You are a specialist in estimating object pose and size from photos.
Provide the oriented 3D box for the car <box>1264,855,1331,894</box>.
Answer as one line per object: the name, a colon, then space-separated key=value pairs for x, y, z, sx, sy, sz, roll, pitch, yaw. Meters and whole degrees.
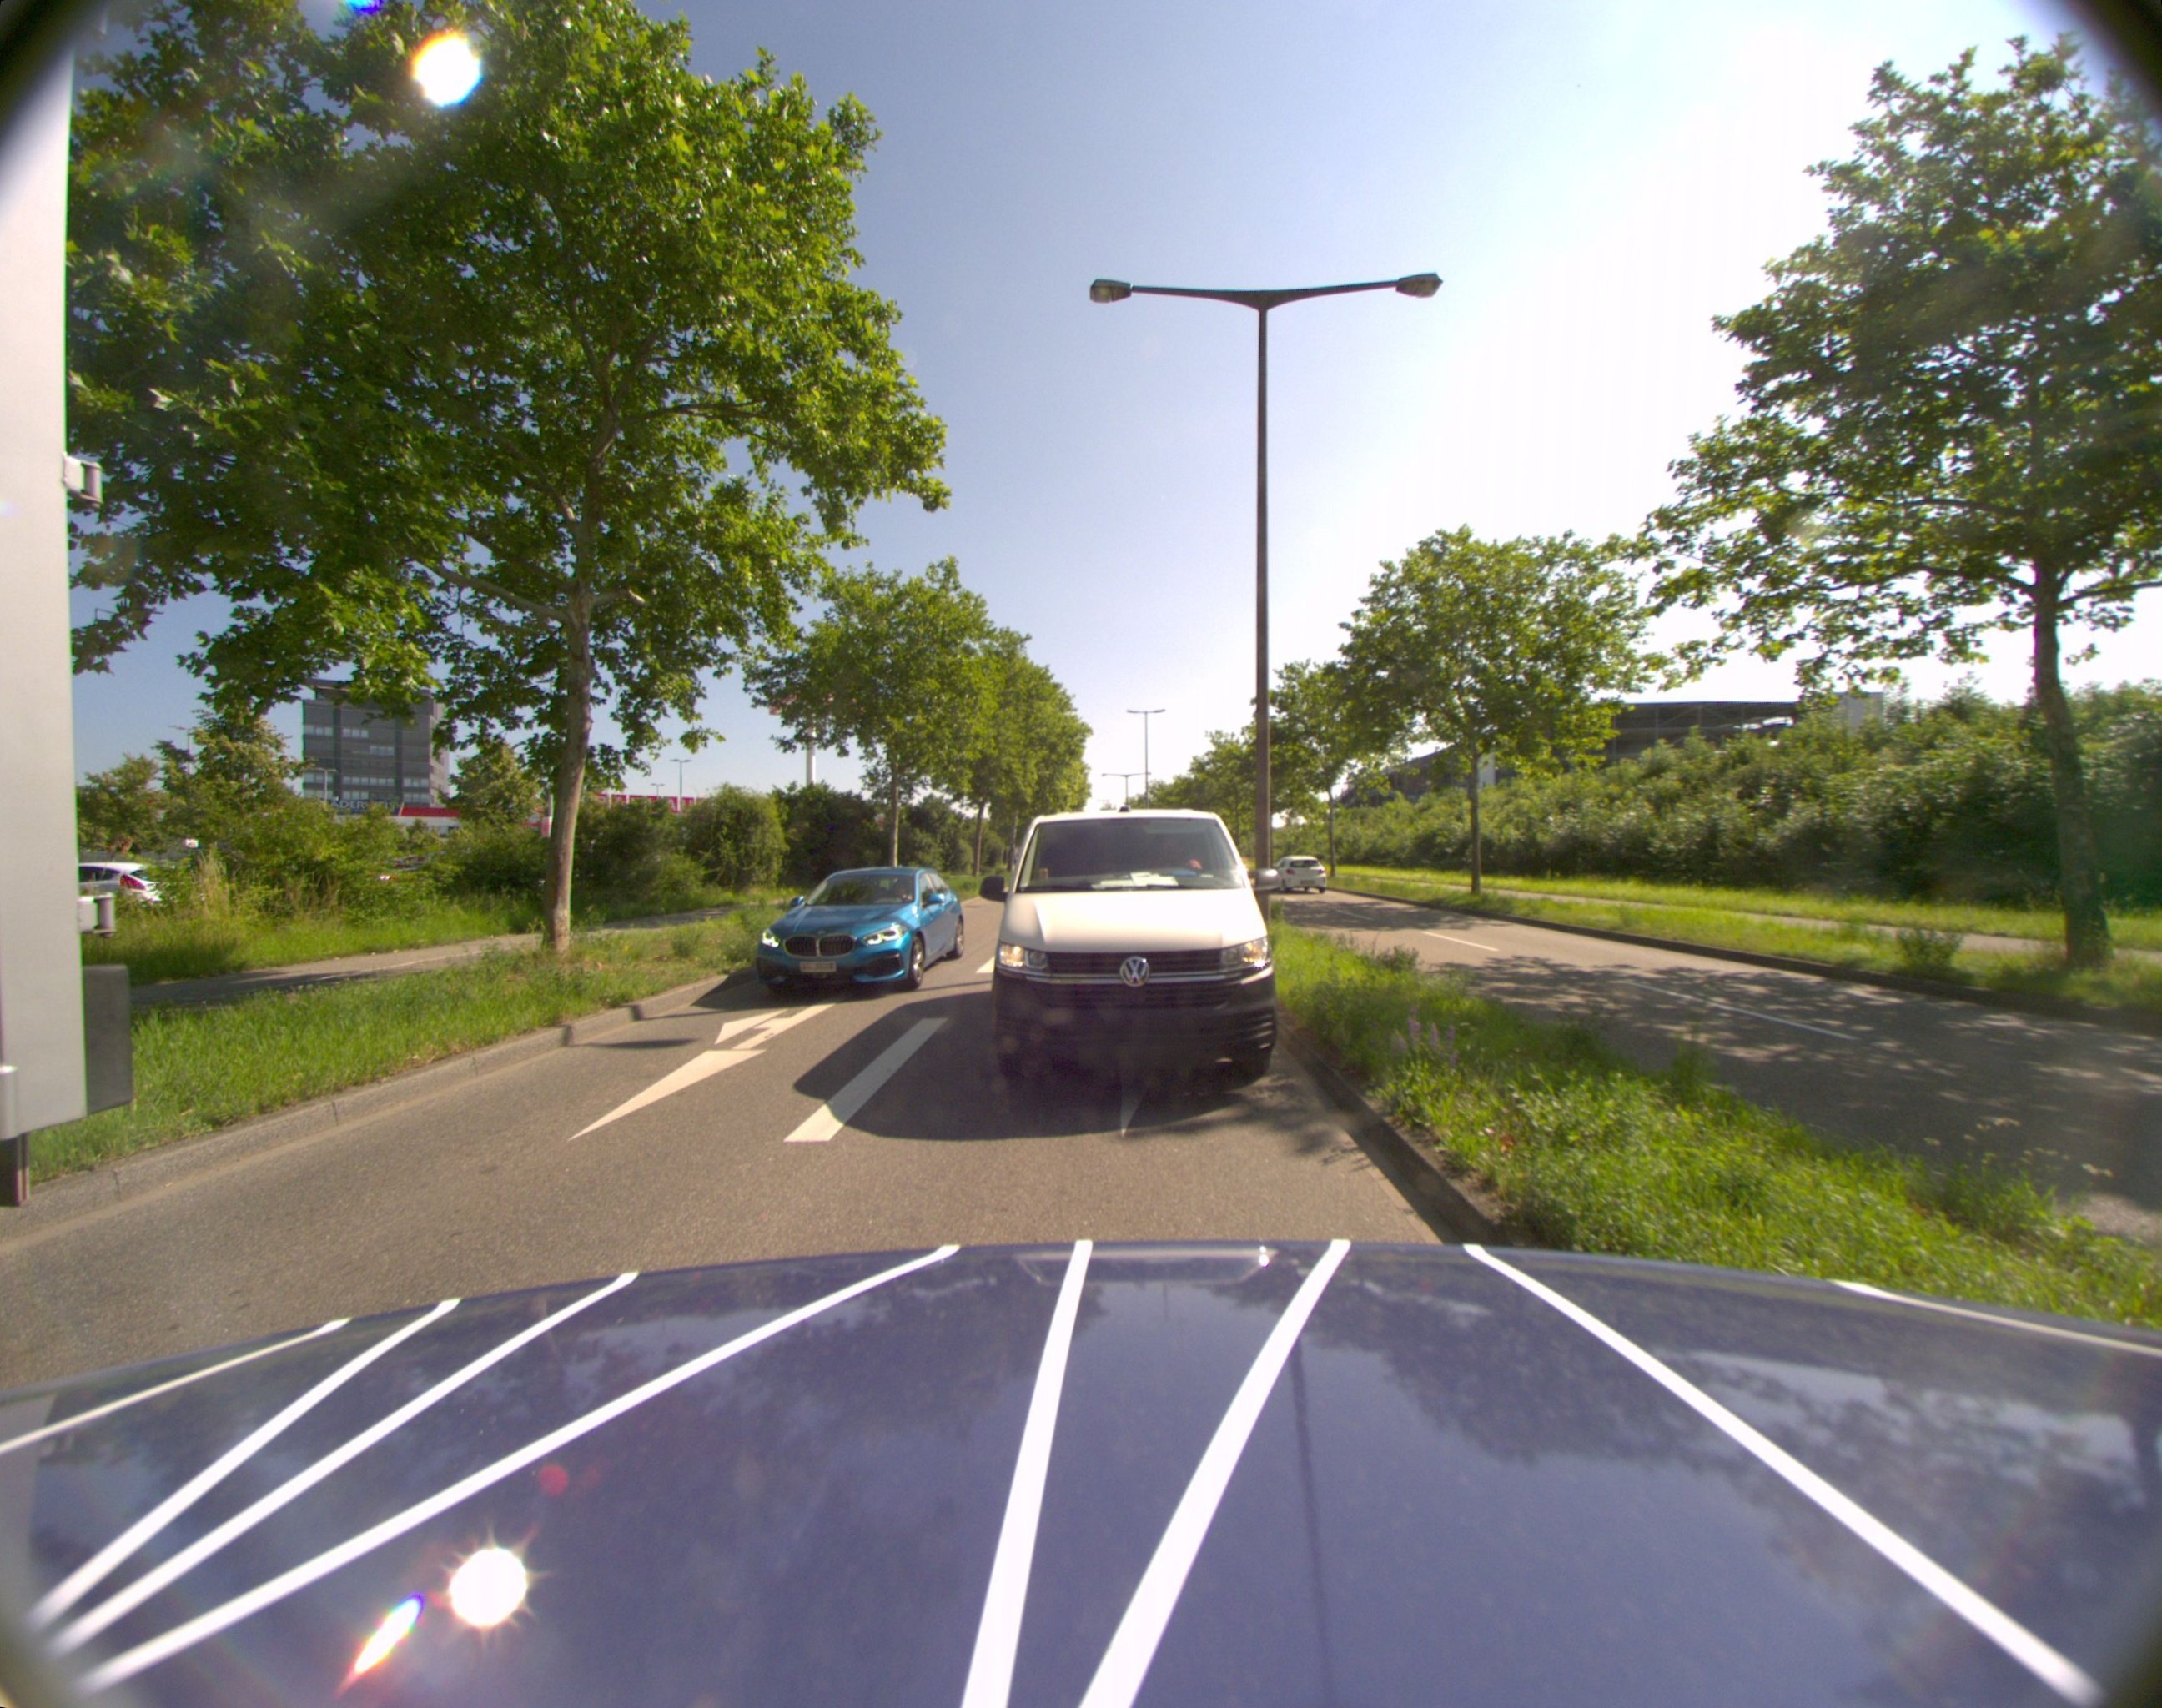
car: x=8.944 y=0.816 z=31.708 sx=1.704 sy=1.499 sz=4.000 roll=0 pitch=0 yaw=1

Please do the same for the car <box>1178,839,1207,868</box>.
car: x=10.547 y=-0.049 z=72.191 sx=1.998 sy=2.647 sz=5.786 roll=1 pitch=1 yaw=1

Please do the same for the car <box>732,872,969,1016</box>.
car: x=-2.774 y=1.013 z=10.209 sx=1.872 sy=1.412 sz=4.130 roll=0 pitch=0 yaw=1

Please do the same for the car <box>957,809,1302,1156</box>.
car: x=0.297 y=0.693 z=6.590 sx=1.872 sy=1.889 sz=4.881 roll=0 pitch=0 yaw=1
